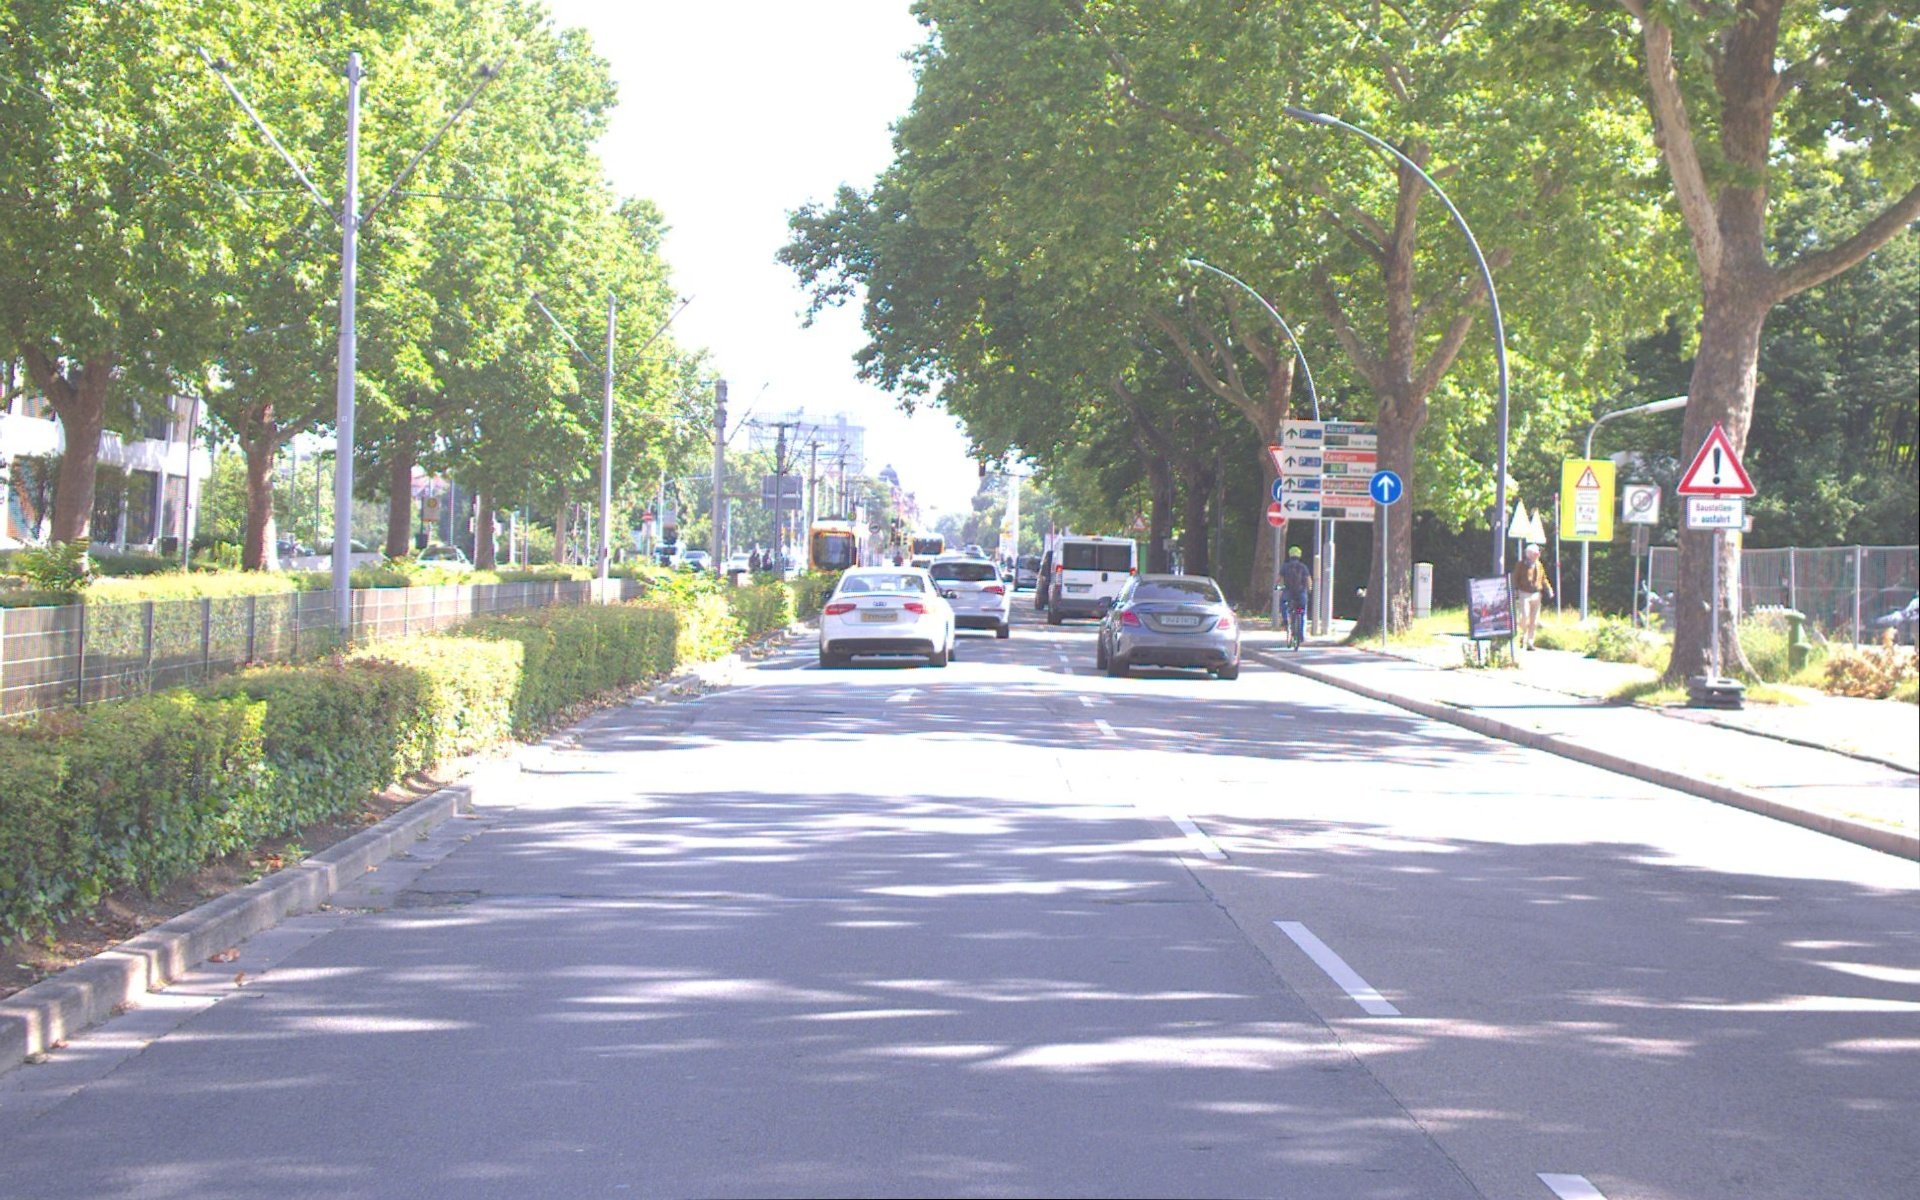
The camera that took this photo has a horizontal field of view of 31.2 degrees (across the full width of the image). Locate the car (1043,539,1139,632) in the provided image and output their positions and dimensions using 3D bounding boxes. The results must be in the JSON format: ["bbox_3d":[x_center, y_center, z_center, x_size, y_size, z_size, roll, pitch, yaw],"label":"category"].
[{"bbox_3d":[3.277,-0.370,86.539,2.230,2.204,4.162,2,0,1],"label":"car"}]

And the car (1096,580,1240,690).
[{"bbox_3d":[2.905,0.459,48.674,1.782,1.415,4.000,2,0,1],"label":"car"}]

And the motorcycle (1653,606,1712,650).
[{"bbox_3d":[16.910,0.650,80.470,1.219,0.964,0.471,2,0,-6],"label":"motorcycle"}]

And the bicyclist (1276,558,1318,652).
[{"bbox_3d":[6.029,0.080,61.583,0.634,1.642,0.979,-1,2,0],"label":"bicyclist"}]

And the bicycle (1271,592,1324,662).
[{"bbox_3d":[6.030,0.470,61.568,0.714,1.144,2.178,-1,2,0],"label":"bicycle"}]

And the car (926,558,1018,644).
[{"bbox_3d":[0.251,-0.004,68.584,1.729,1.599,3.885,2,0,1],"label":"car"}]

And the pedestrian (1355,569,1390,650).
[{"bbox_3d":[9.301,0.213,77.505,0.632,1.779,0.874,2,0,0],"label":"pedestrian"}]

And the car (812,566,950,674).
[{"bbox_3d":[-1.096,0.264,49.281,1.784,1.416,3.885,2,0,1],"label":"car"}]

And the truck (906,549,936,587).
[{"bbox_3d":[-2.977,-2.426,264.121,1.993,2.780,8.518,2,0,1],"label":"truck"}]

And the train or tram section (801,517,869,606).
[{"bbox_3d":[-5.892,-1.816,162.832,2.617,4.001,7.749,2,0,1],"label":"train or tram section"}]

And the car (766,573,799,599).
[{"bbox_3d":[-12.367,-0.962,239.671,1.993,1.728,4.000,2,0,1],"label":"car"}]

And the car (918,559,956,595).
[{"bbox_3d":[-1.101,-1.123,167.232,1.729,1.625,4.000,2,0,1],"label":"car"}]

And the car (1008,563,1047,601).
[{"bbox_3d":[3.729,-1.002,190.543,2.072,1.992,4.058,2,0,1],"label":"car"}]

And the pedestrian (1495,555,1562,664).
[{"bbox_3d":[10.062,0.163,60.917,0.939,1.886,1.151,2,0,1],"label":"pedestrian"}]
